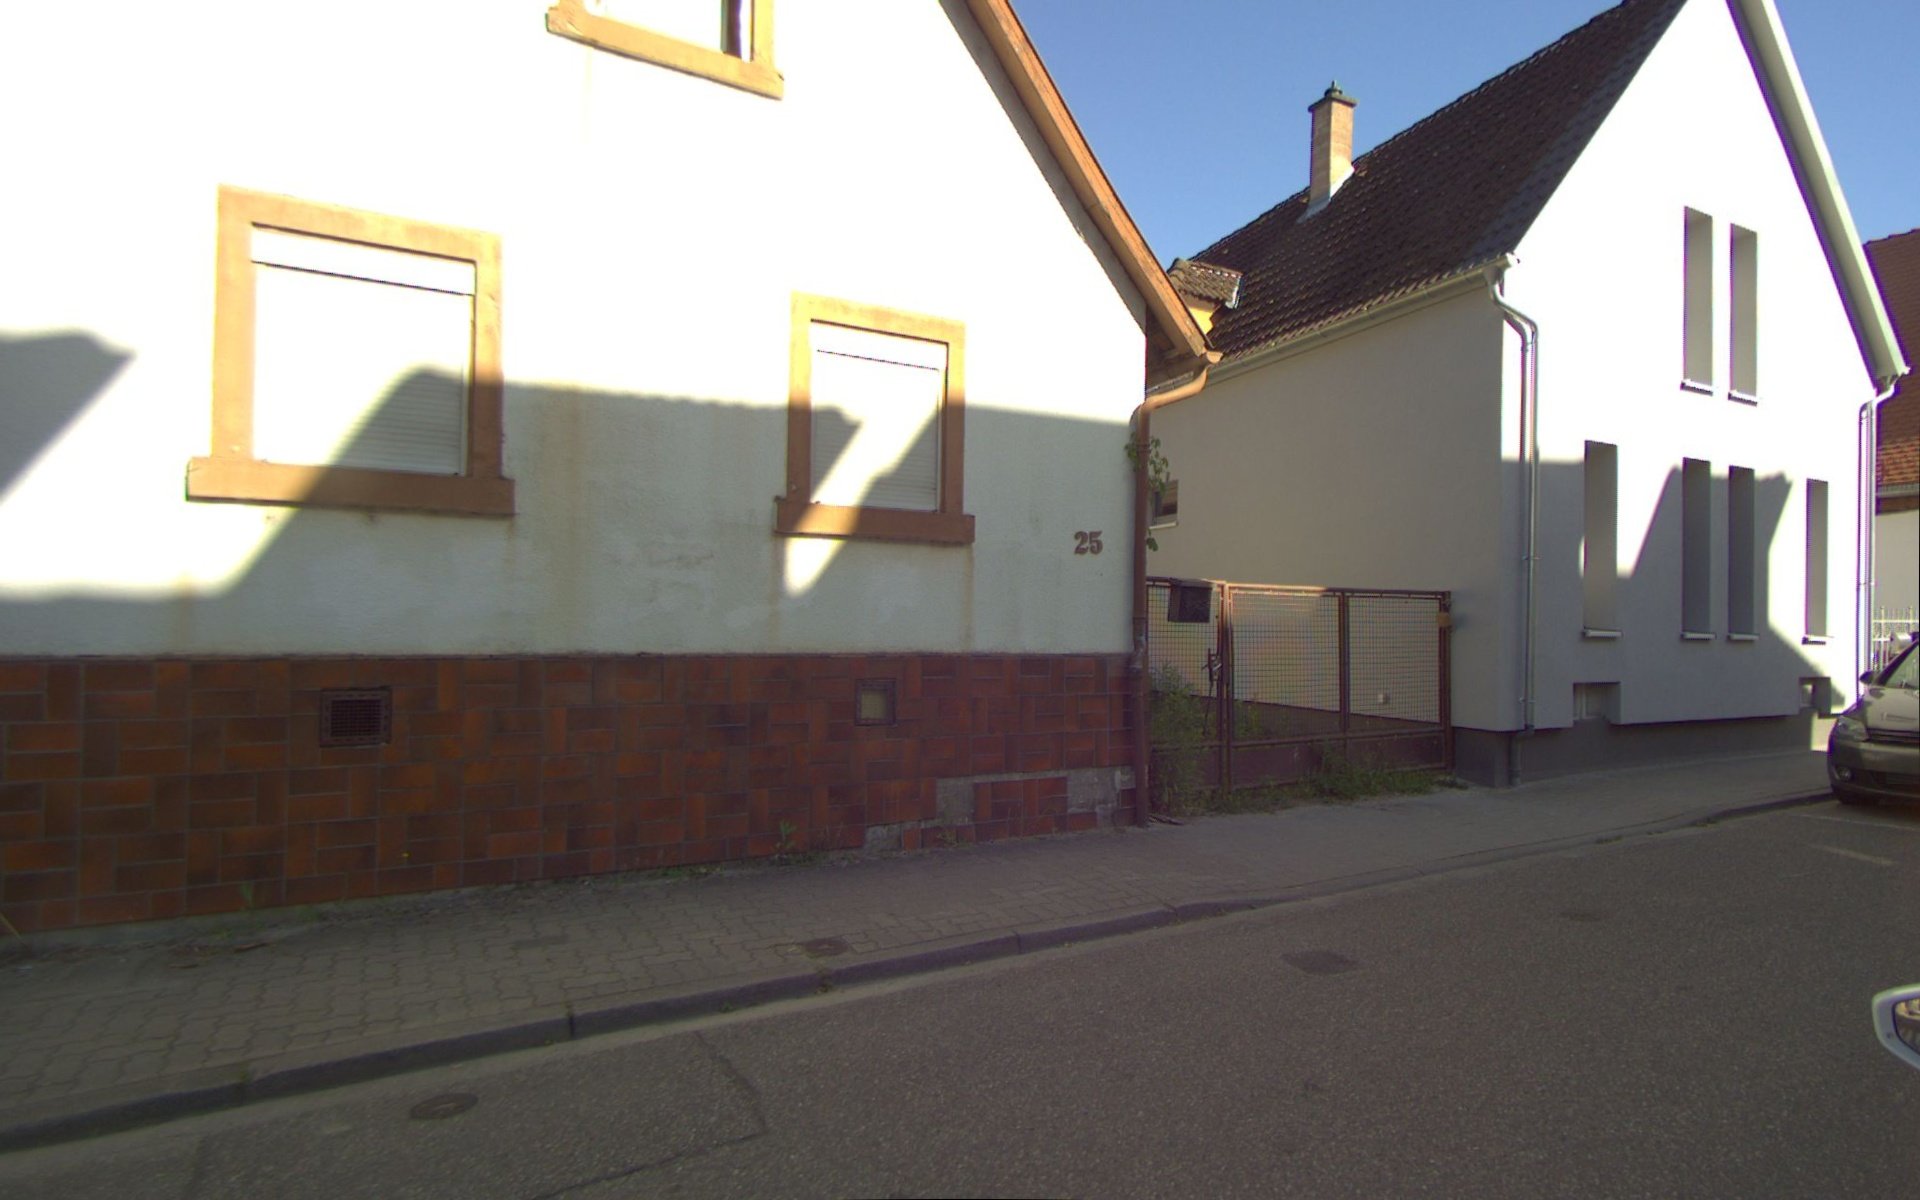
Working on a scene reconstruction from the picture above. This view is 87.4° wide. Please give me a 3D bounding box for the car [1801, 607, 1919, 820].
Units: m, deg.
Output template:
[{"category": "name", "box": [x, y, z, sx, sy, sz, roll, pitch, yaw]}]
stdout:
[{"category": "car", "box": [9.162, 0.929, 8.648, 3.953, 1.635, 1.734, 2, -2, -30]}]
